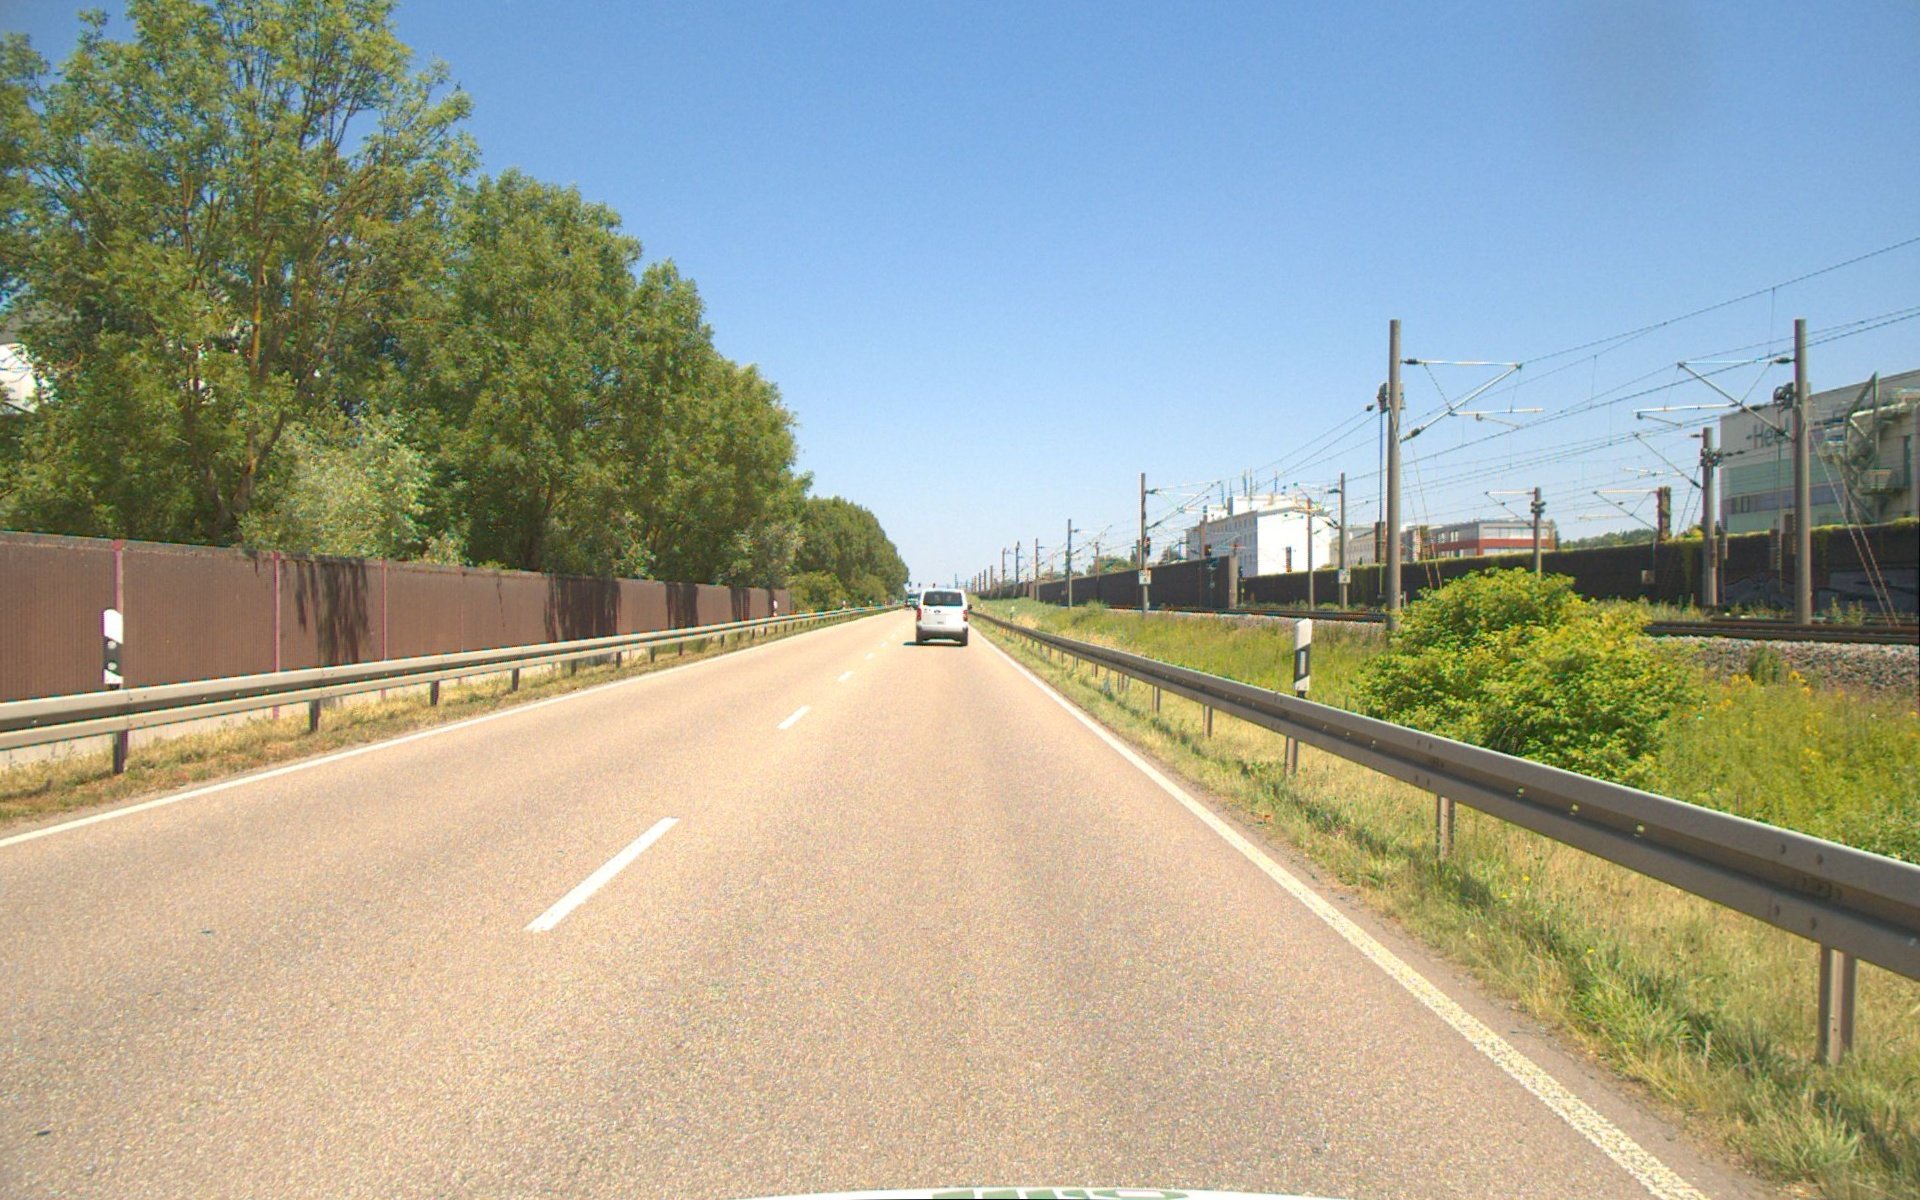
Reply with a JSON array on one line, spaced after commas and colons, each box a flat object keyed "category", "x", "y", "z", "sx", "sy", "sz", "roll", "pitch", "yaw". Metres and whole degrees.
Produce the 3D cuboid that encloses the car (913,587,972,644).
[{"category": "car", "x": -0.628, "y": 0.527, "z": 57.976, "sx": 1.953, "sy": 1.882, "sz": 3.999, "roll": 2, "pitch": 0, "yaw": -1}]
